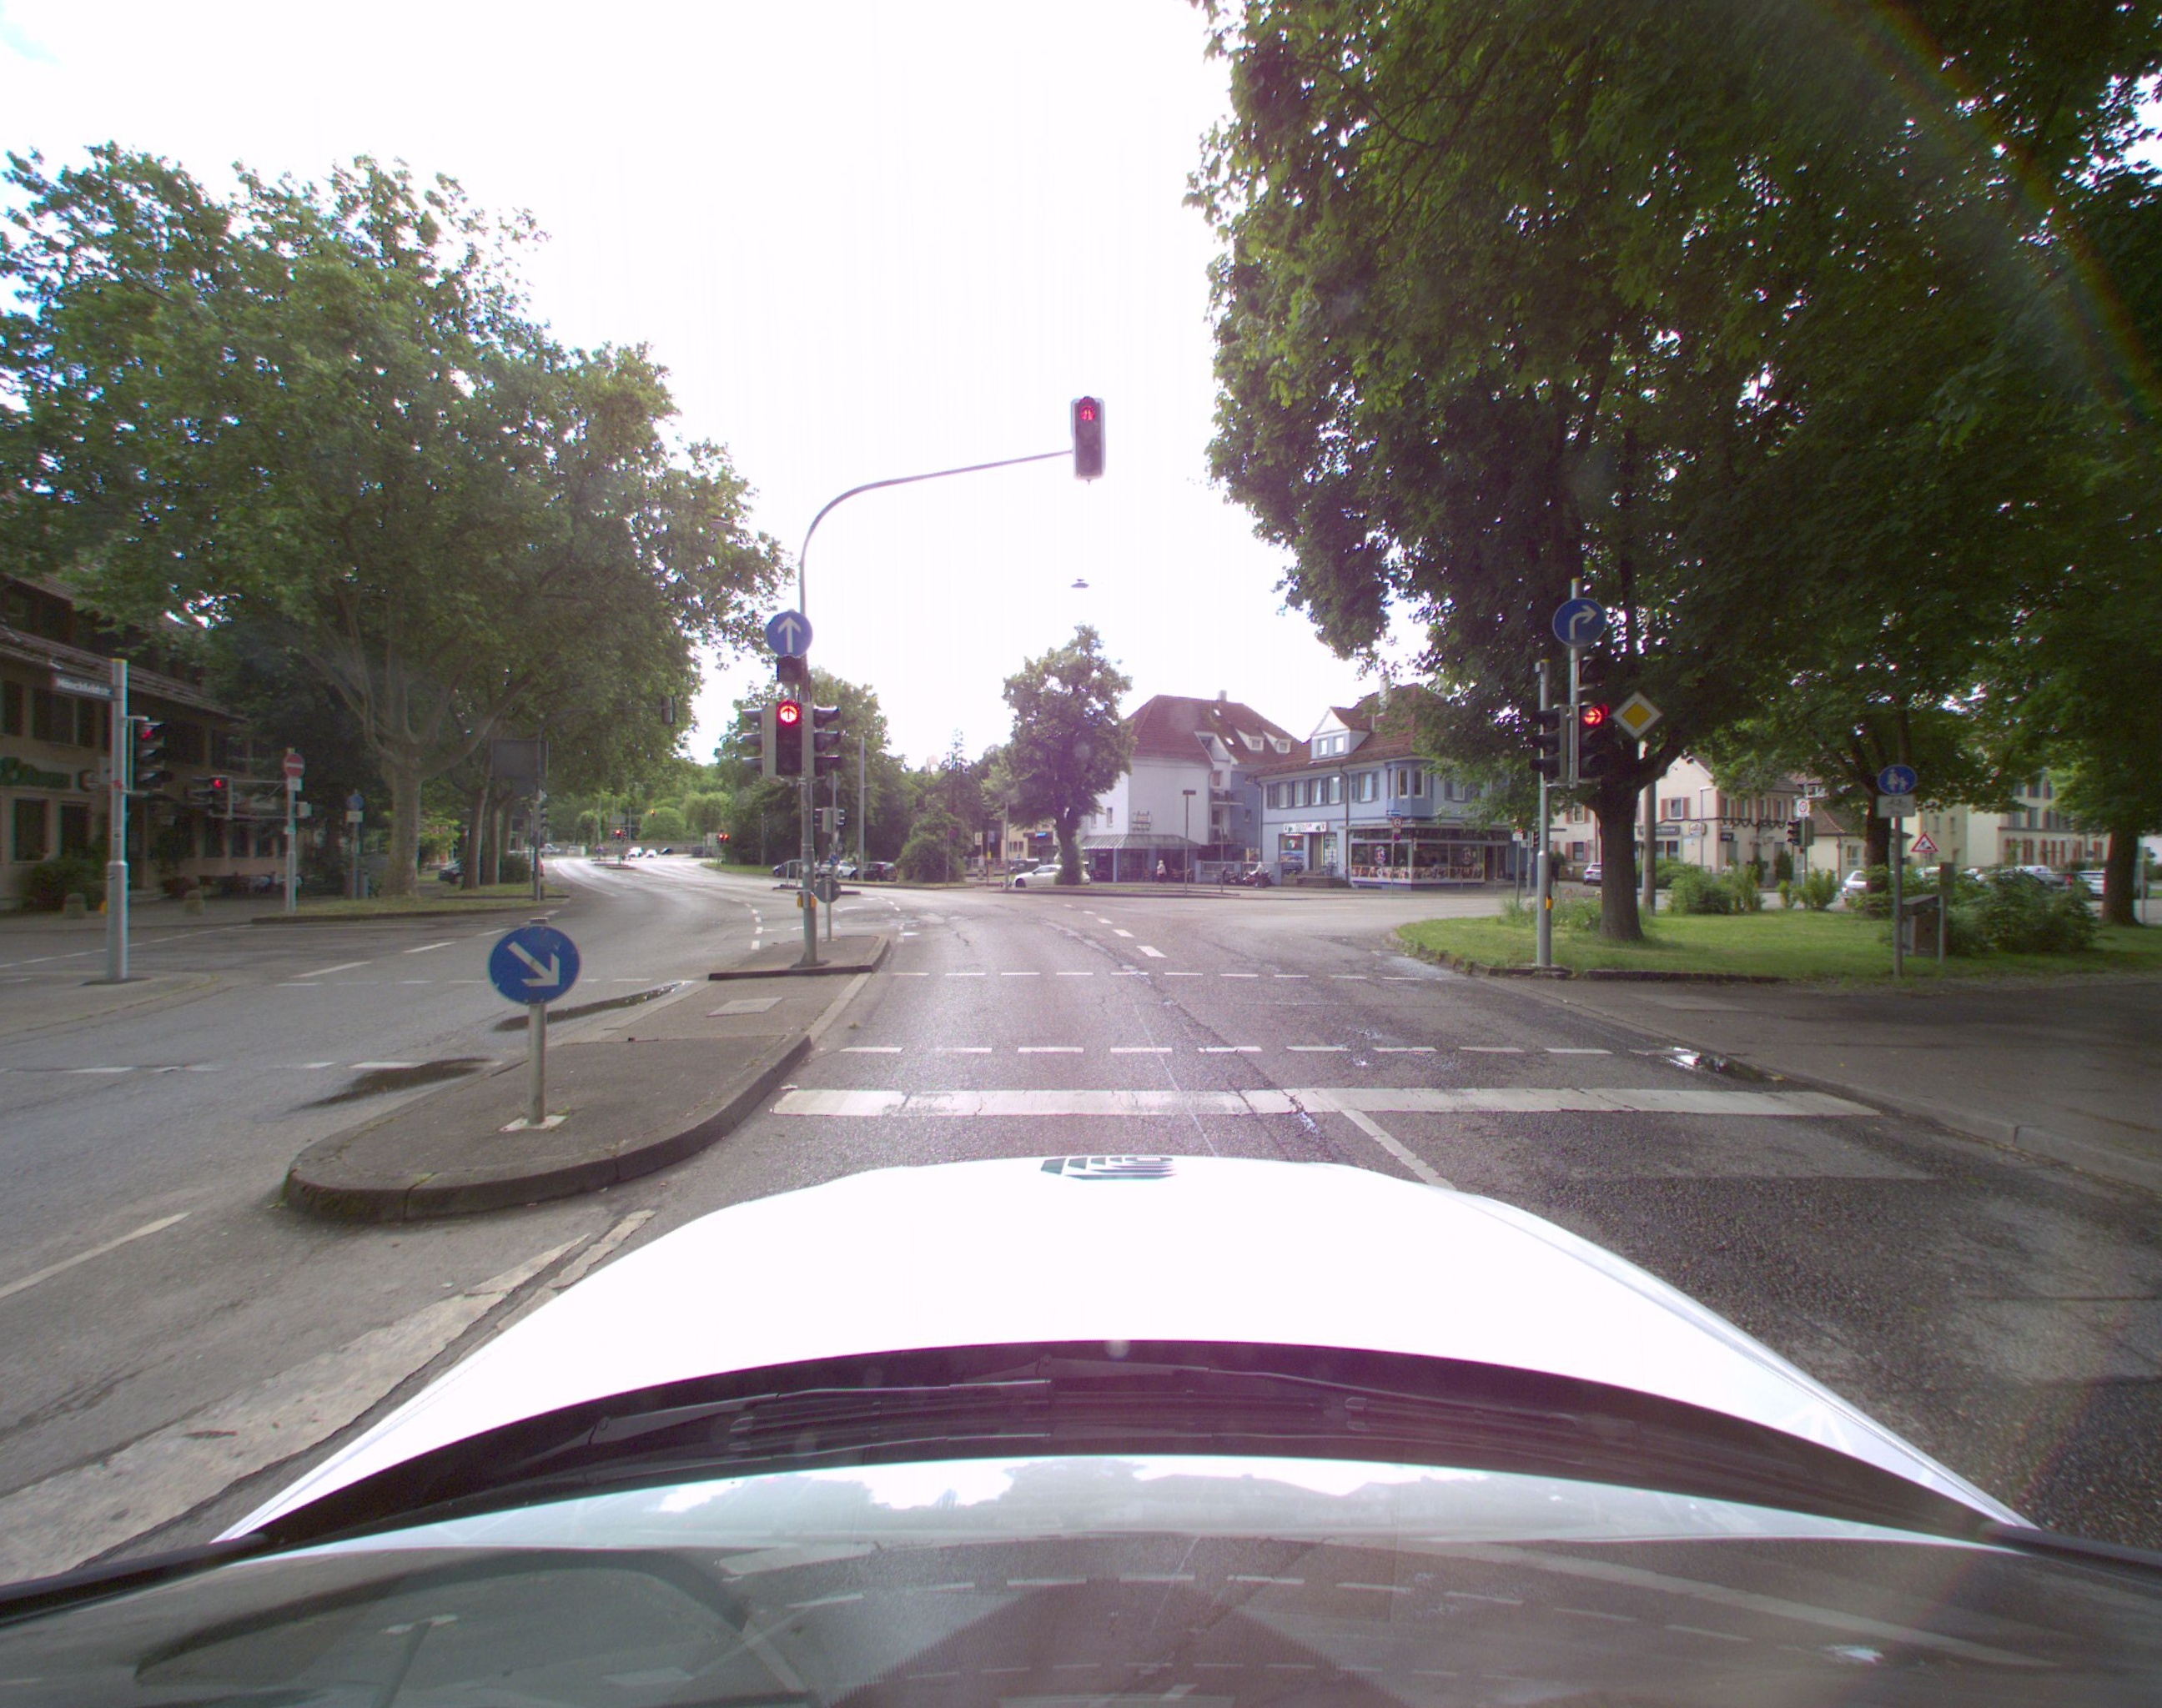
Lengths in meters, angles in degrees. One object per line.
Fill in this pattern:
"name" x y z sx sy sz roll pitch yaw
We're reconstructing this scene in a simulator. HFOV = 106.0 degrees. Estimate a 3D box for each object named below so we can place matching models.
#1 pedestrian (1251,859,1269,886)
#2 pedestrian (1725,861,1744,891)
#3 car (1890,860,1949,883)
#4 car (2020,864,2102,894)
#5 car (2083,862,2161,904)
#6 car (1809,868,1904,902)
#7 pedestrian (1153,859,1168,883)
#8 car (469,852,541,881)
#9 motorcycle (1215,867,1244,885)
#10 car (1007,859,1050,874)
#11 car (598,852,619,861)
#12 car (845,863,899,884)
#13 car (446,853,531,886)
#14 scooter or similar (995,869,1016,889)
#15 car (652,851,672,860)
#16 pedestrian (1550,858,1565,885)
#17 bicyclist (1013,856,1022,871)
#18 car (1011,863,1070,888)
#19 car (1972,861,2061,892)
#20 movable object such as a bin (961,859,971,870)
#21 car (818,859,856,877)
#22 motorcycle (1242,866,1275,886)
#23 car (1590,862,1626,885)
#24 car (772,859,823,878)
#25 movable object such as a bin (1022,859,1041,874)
"pedestrian" 10.299 1.056 46.772 0.759 1.545 0.682 -1 -1 41
"pedestrian" 36.919 1.239 46.014 0.610 1.649 0.606 0 -1 -26
"car" 55.115 1.133 53.530 4.007 1.420 1.544 0 0 -26
"car" 47.004 1.172 39.058 3.511 1.321 1.549 0 0 -22
"car" 52.832 1.441 41.125 4.004 2.014 1.770 0 -1 -23
"car" 31.964 1.256 33.566 3.511 1.321 1.549 0 0 -22
"pedestrian" 5.000 1.068 51.246 0.699 1.545 0.682 -1 -1 42
"car" -35.484 0.759 50.276 3.461 1.742 1.557 0 -1 -31
"motorcycle" 9.114 1.318 50.074 0.699 1.064 1.617 0 -1 -44
"car" -4.883 1.141 76.151 3.752 1.345 1.422 0 0 -25
"car" -106.188 0.501 183.015 4.011 2.014 1.981 0 -1 -29
"car" -13.907 1.270 54.200 3.549 1.394 1.481 0 -1 34
"car" -31.001 0.786 42.711 3.461 1.641 1.557 0 -1 -31
"scooter or similar" -3.977 1.294 42.877 0.413 1.011 1.575 -1 -1 22
"car" -95.508 0.444 185.591 4.011 2.014 1.981 0 -1 -29
"pedestrian" 27.184 0.979 46.460 0.459 1.517 0.584 0 -1 -19
"bicyclist" -6.528 0.980 83.811 0.592 1.541 0.744 0 -1 27
"car" -2.308 1.206 46.234 3.134 1.354 1.448 0 -1 36
"car" 42.217 0.981 36.751 3.510 1.321 1.549 0 0 -21
"movable object such as a bin" -12.224 1.126 86.634 0.953 1.115 0.381 0 -1 -19
"car" -20.081 1.135 67.181 1.534 1.464 3.407 0 0 13
"motorcycle" 10.535 1.292 48.260 1.777 1.121 0.699 0 -1 40
"car" 32.603 1.190 50.339 1.481 1.369 3.198 -1 -1 40
"car" -22.440 1.118 64.479 3.520 1.464 1.591 0 0 14
"movable object such as a bin" -4.525 1.139 74.244 1.447 1.409 0.959 0 -1 -25
